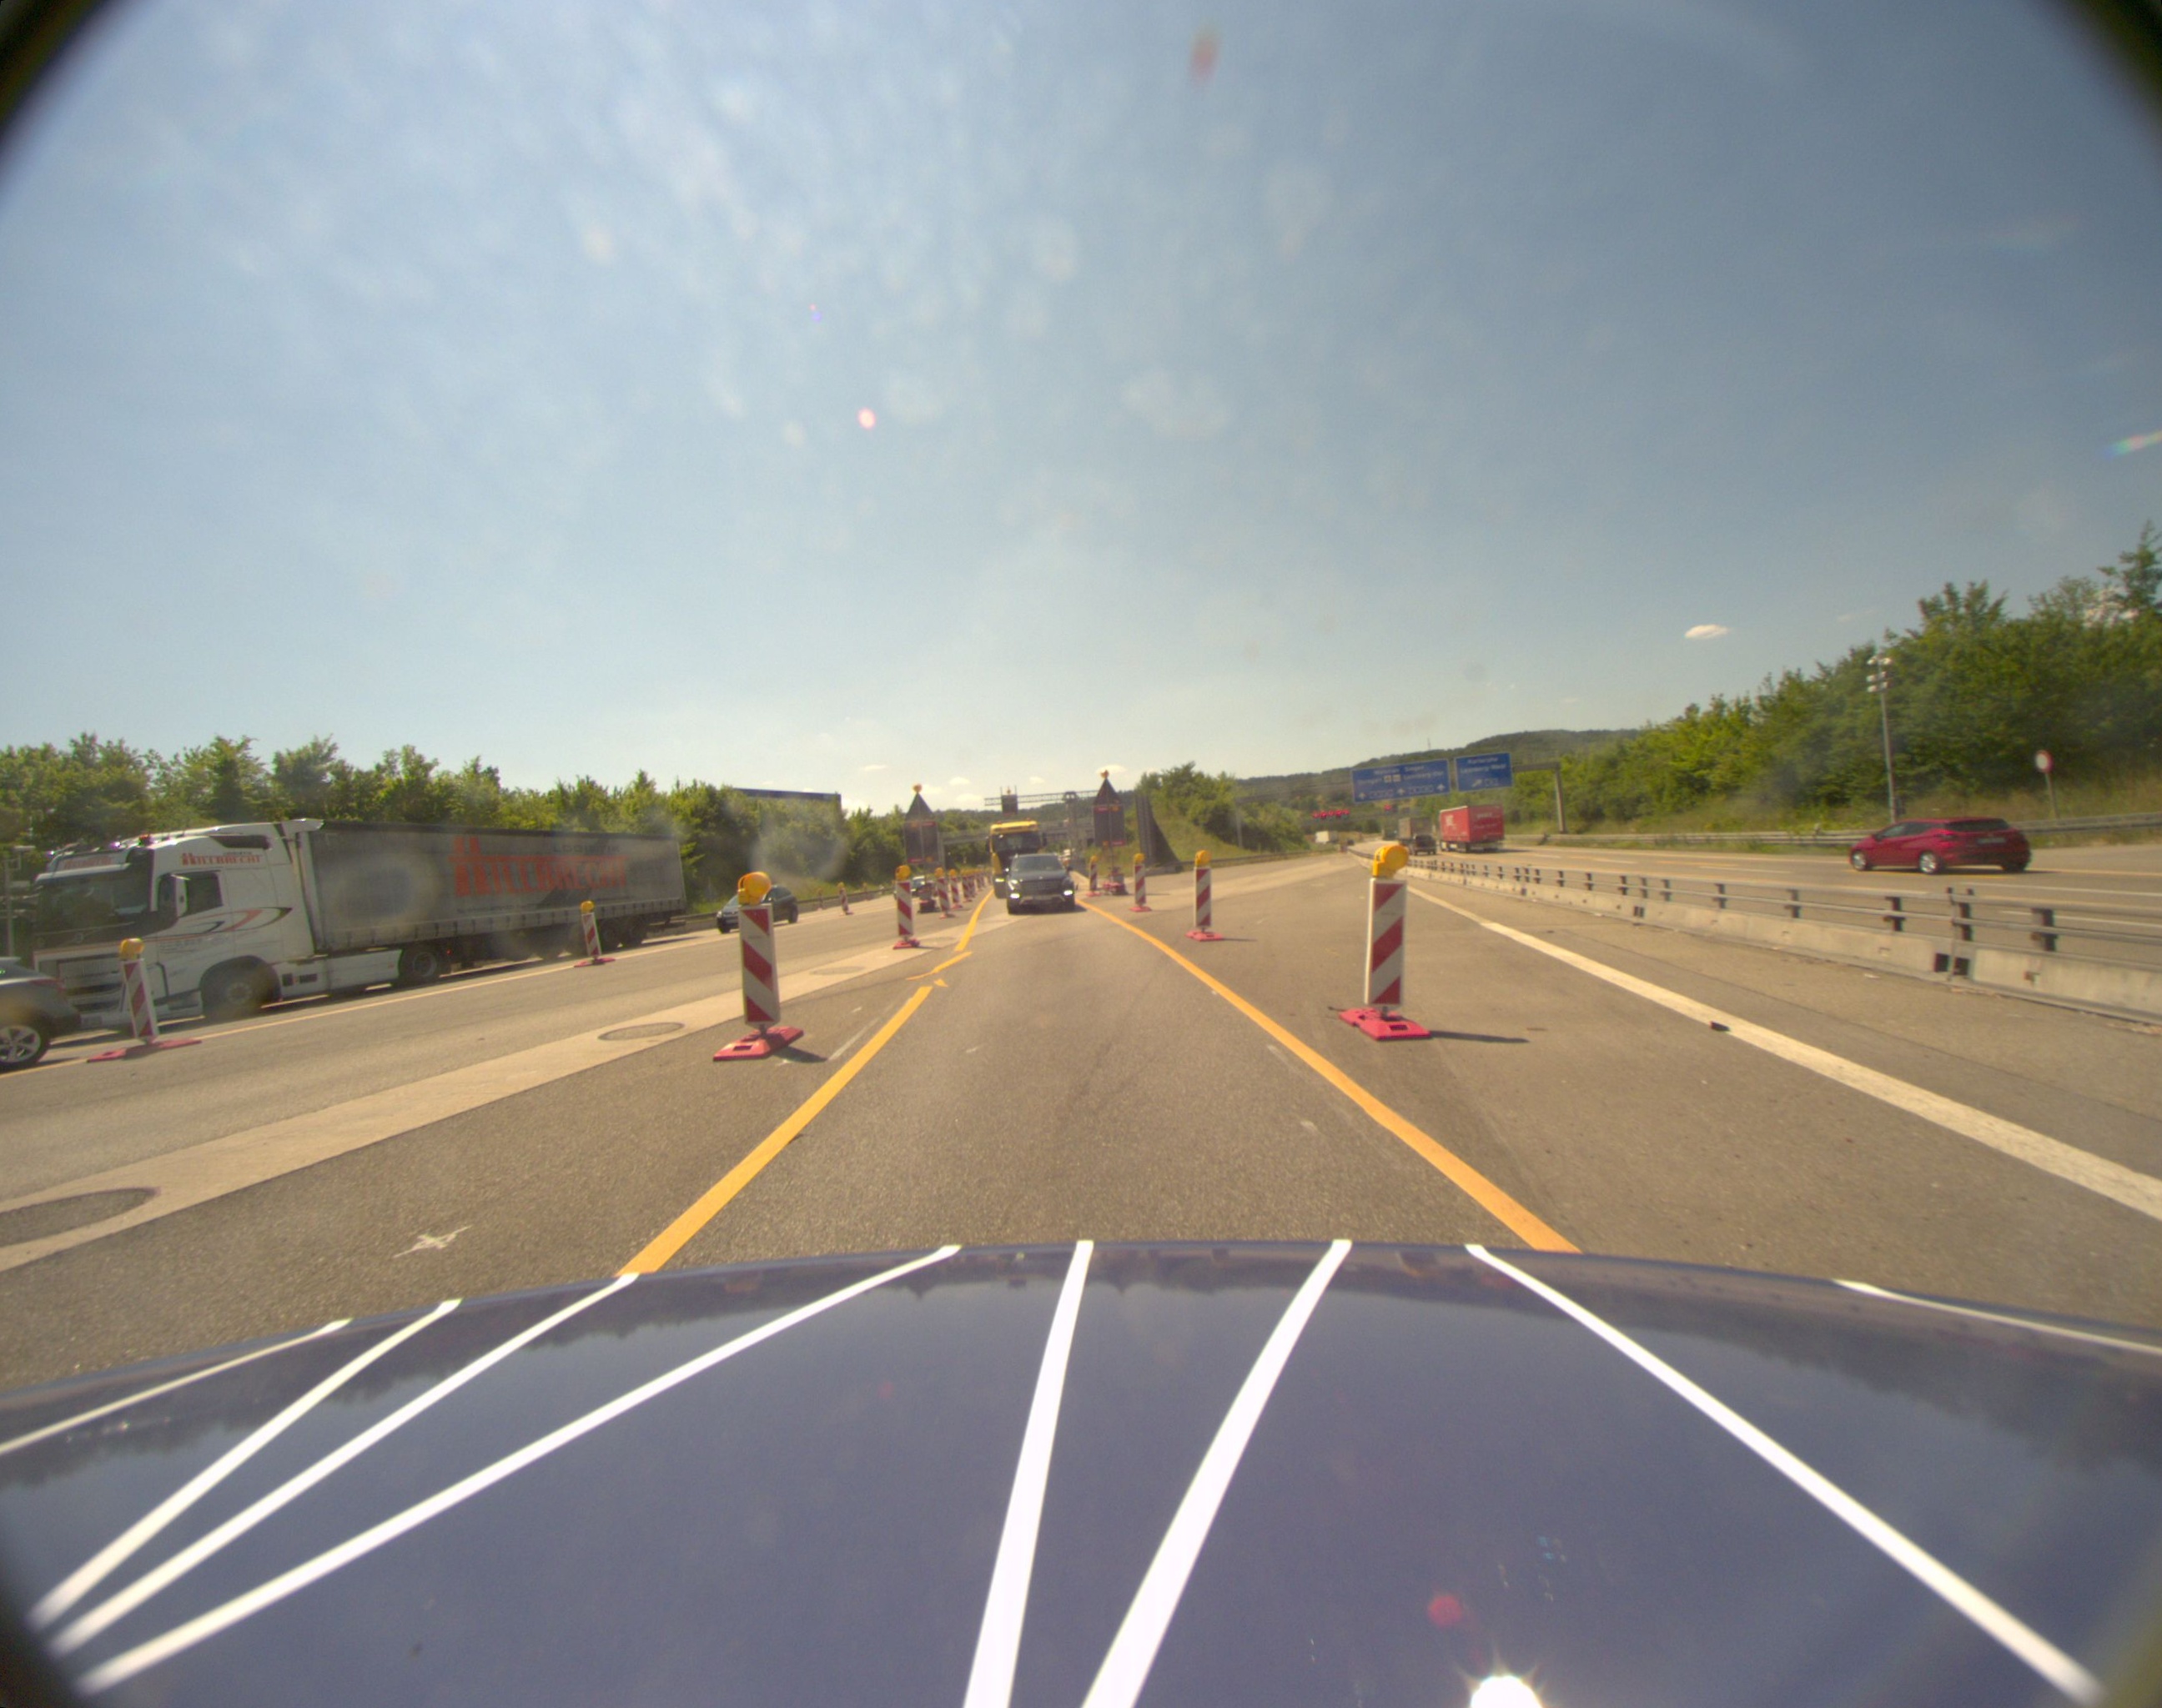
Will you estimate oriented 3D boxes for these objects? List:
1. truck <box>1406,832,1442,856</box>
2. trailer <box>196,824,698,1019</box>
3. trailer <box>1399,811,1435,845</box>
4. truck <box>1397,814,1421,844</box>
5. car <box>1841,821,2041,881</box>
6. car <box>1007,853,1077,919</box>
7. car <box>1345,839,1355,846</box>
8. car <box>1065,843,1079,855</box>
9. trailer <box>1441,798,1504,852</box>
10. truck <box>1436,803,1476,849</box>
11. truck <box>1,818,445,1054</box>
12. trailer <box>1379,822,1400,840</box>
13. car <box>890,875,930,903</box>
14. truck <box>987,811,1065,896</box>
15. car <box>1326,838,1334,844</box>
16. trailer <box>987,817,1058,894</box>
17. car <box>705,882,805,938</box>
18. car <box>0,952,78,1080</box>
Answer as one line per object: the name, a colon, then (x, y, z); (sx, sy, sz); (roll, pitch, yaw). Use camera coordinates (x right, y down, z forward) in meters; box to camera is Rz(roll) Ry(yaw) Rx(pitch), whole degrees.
truck: (30.490, -0.866, 67.670); (1.997, 1.862, 4.766); (-4, -1, 14)
trailer: (-17.177, 1.434, 23.295); (2.546, 3.929, 13.872); (-7, 0, 4)
trailer: (47.778, -3.620, 108.418); (2.439, 4.271, 13.822); (-5, 0, 16)
truck: (49.677, -3.803, 115.184); (2.435, 4.245, 4.843); (-5, 0, 16)
car: (22.581, -0.114, 20.202); (1.689, 1.387, 4.004); (-2, 1, 17)
car: (-1.242, 0.888, 23.151); (1.820, 1.685, 4.491); (-3, 0, -4)
car: (61.192, -2.566, 173.034); (1.718, 1.482, 3.691); (-5, 0, 13)
car: (-1.909, -1.097, 161.376); (2.441, 2.081, 5.307); (-7, 1, 1)
trailer: (34.008, -2.472, 66.483); (2.341, 4.078, 13.275); (-4, 0, 17)
truck: (36.039, -2.677, 73.148); (2.337, 4.084, 5.022); (-4, 1, 17)
truck: (-17.642, 1.459, 16.328); (2.533, 3.927, 5.600); (-7, 0, 4)
trailer: (81.131, -6.189, 199.975); (3.551, 4.245, 13.921); (-6, 0, 17)
car: (-12.978, 2.652, 57.946); (1.819, 1.685, 4.493); (-8, 0, 1)
truck: (-3.021, 0.069, 39.395); (3.231, 3.639, 7.080); (-7, 0, -7)
car: (65.857, -3.459, 200.887); (1.718, 1.614, 4.174); (-5, 0, 14)
trailer: (-4.111, 0.278, 48.340); (3.238, 3.645, 17.414); (-7, -1, -7)
car: (-13.116, 2.196, 30.880); (1.819, 1.685, 4.493); (-7, 0, 2)
car: (-14.888, 2.248, 8.483); (1.709, 1.544, 4.032); (-7, 0, 6)
